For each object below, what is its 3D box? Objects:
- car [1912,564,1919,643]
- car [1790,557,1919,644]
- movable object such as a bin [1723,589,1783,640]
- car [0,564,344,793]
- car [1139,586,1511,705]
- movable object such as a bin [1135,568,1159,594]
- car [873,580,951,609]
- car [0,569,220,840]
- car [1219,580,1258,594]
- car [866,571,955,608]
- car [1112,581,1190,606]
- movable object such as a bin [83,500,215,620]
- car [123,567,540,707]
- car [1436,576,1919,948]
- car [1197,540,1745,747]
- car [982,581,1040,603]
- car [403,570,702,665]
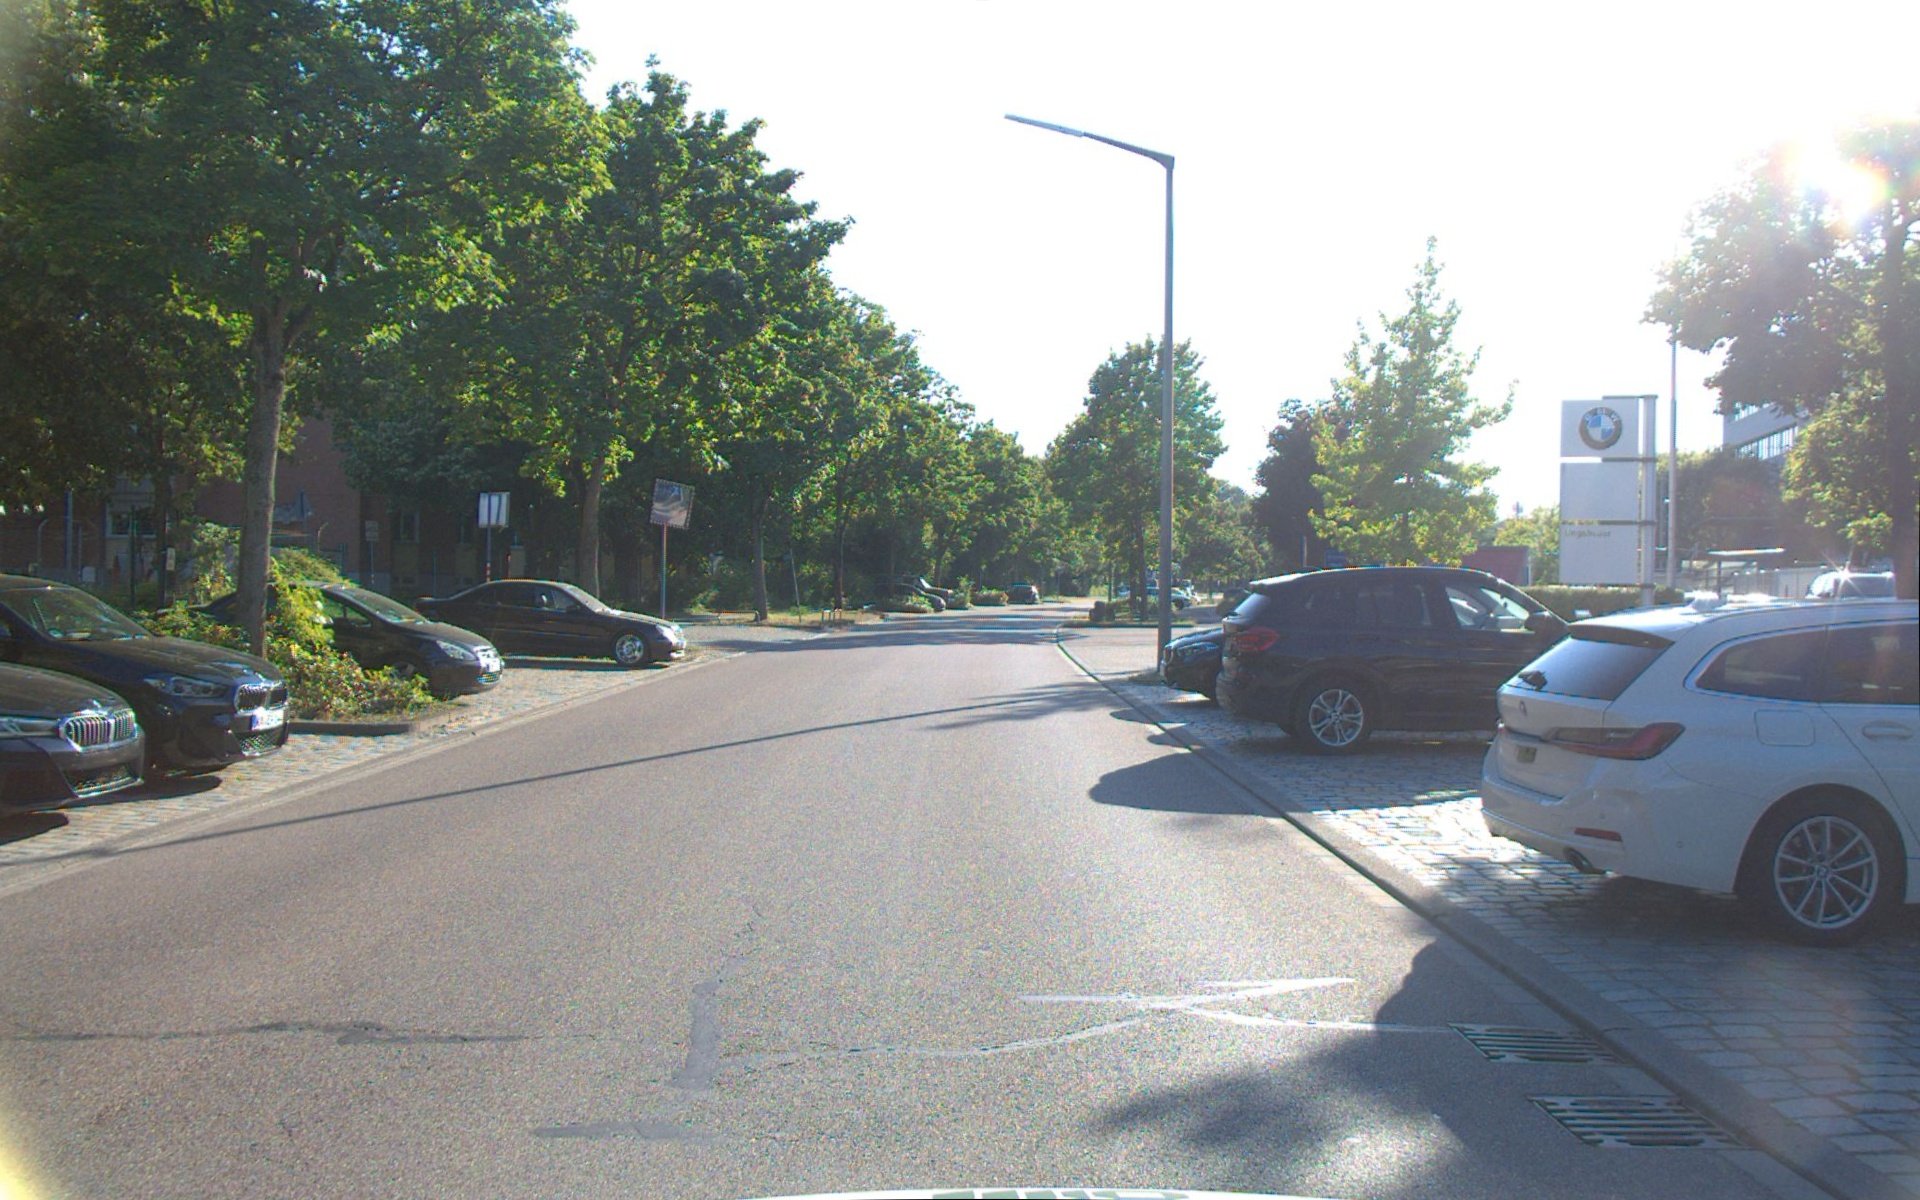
[{"bbox_3d":[23.103,0.100,37.029,1.988,1.860,4.564,0,1,15],"label":"car"},{"bbox_3d":[20.689,-0.013,37.945,1.988,1.860,4.980,0,1,15],"label":"car"},{"bbox_3d":[20.336,0.365,42.411,1.093,1.290,1.039,1,0,6],"label":"movable object such as a bin"},{"bbox_3d":[-7.428,0.518,12.972,4.388,1.557,2.000,2,1,-1],"label":"car"},{"bbox_3d":[4.654,0.553,21.563,4.390,1.428,2.033,0,1,-1],"label":"car"},{"bbox_3d":[24.401,-2.486,215.931,2.778,3.122,4.931,3,1,9],"label":"movable object such as a bin"},{"bbox_3d":[-2.645,-0.313,91.644,4.122,1.557,1.707,1,0,7],"label":"car"},{"bbox_3d":[-7.644,0.535,10.691,4.753,1.557,1.999,2,1,-3],"label":"car"},{"bbox_3d":[35.377,-1.610,210.029,4.739,1.504,2.002,3,1,15],"label":"car"},{"bbox_3d":[-2.838,-0.611,95.674,4.898,2.055,2.176,1,0,7],"label":"car"},{"bbox_3d":[12.692,-0.447,109.556,5.065,1.601,2.160,1,1,8],"label":"car"},{"bbox_3d":[-19.597,-0.937,39.860,2.140,2.711,4.744,0,1,-35],"label":"movable object such as a bin"},{"bbox_3d":[-7.742,0.426,20.715,4.388,1.487,2.000,2,1,-1],"label":"car"},{"bbox_3d":[4.878,0.639,7.930,4.599,1.505,2.000,-1,1,-1],"label":"car"},{"bbox_3d":[4.660,0.361,15.760,4.596,1.781,2.193,1,1,4],"label":"car"},{"bbox_3d":[4.068,-0.622,132.042,4.266,1.504,2.002,3,1,11],"label":"car"},{"bbox_3d":[-7.390,0.296,30.384,4.932,1.487,2.000,2,1,-1],"label":"car"}]
